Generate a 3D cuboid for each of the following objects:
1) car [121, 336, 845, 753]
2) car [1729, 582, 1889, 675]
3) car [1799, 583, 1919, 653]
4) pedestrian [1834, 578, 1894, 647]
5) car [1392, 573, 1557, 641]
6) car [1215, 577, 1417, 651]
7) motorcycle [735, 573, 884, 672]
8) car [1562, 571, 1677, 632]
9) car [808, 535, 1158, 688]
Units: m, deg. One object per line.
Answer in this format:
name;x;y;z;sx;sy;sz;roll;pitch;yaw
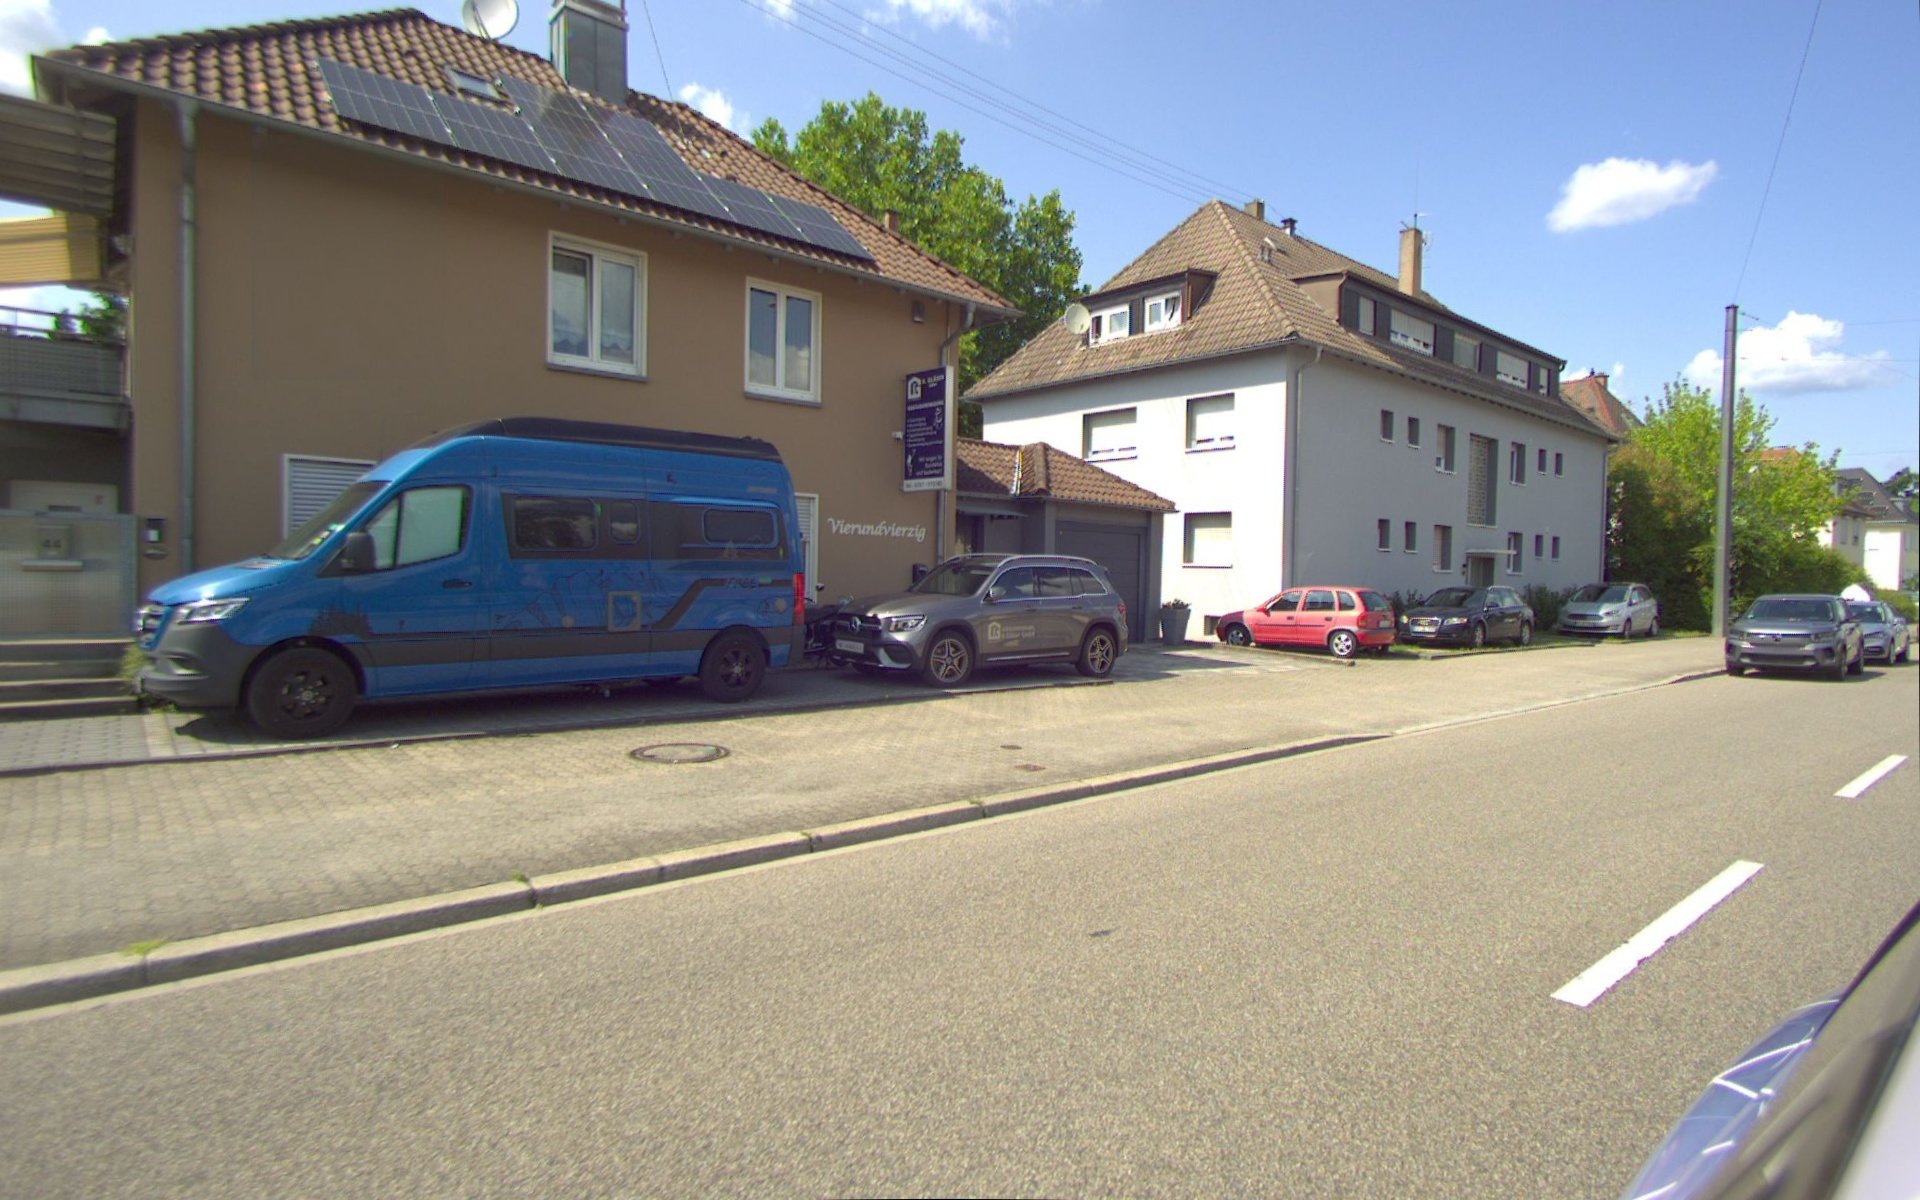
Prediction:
car;-4.301;-0.451;10.019;6.135;2.967;2.155;-1;1;-40
car;16.546;0.467;19.651;4.181;1.579;1.809;-1;1;-42
car;21.436;0.354;23.924;4.563;1.472;1.817;-1;1;-42
pedestrian;26.636;0.348;29.826;1.071;1.970;1.115;-1;2;-37
car;12.374;0.123;24.204;4.772;1.441;1.802;-1;2;-40
car;7.412;0.224;21.294;1.697;1.397;3.654;-1;2;-42
motorcycle;-2.026;0.277;13.836;1.933;1.248;0.693;0;2;-41
car;19.904;-0.021;30.456;4.689;1.667;1.759;-1;3;-43
car;0.463;0.083;13.891;4.779;1.732;1.840;0;3;-41
